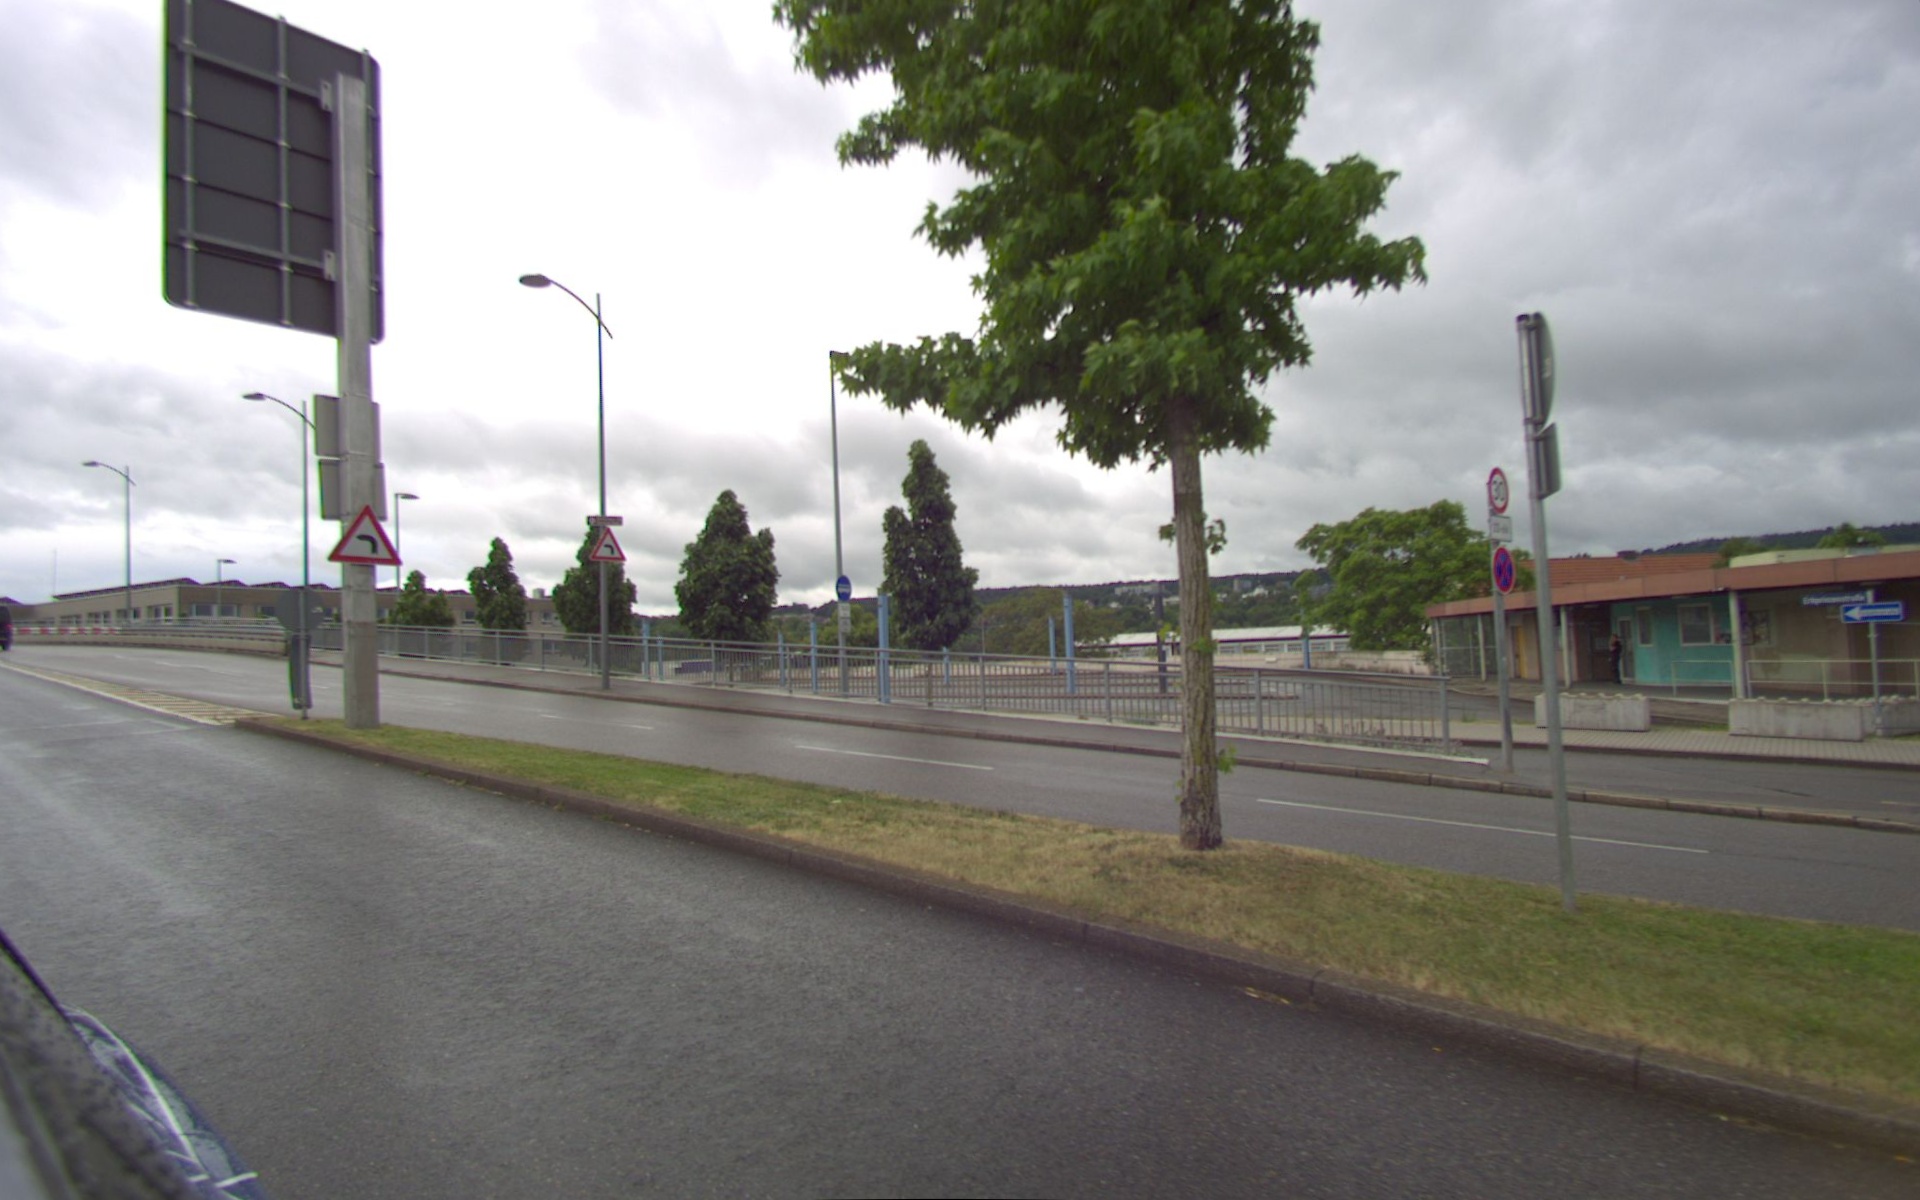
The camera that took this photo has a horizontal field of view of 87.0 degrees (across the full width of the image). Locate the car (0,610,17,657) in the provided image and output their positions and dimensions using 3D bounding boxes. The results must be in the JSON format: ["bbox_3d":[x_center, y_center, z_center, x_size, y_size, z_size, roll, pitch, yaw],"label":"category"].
[{"bbox_3d":[-42.668,1.422,44.005,4.681,1.983,1.826,-1,-2,40],"label":"car"}]
